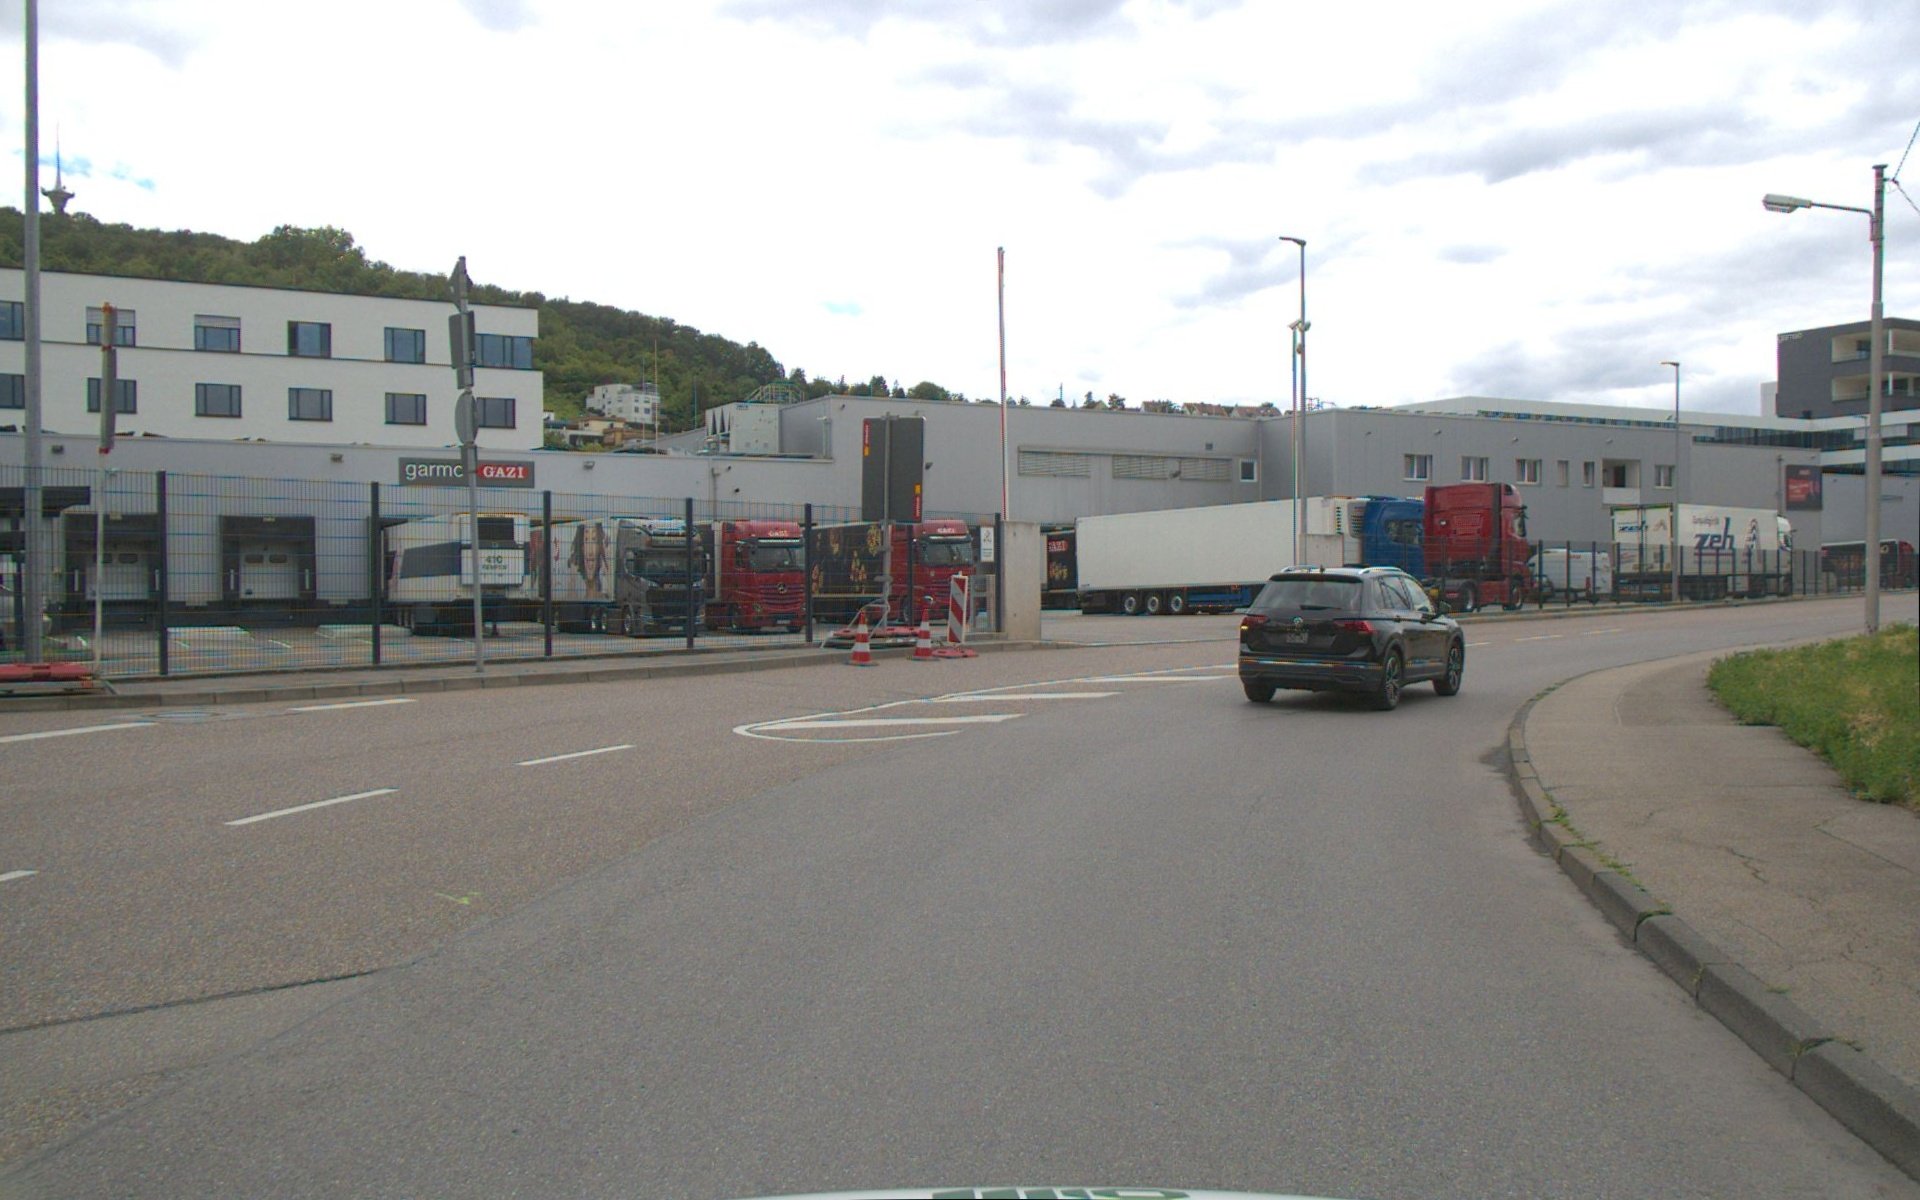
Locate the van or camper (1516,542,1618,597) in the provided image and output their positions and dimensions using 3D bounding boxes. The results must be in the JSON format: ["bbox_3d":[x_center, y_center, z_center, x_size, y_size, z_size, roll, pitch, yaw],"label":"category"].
[{"bbox_3d":[32.044,-1.585,87.461,2.076,2.811,4.936,0,0,-31],"label":"van or camper"}]

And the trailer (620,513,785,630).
[{"bbox_3d":[-10.252,-1.048,64.534,2.753,4.149,10.887,0,0,-29],"label":"trailer"}]

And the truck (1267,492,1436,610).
[{"bbox_3d":[14.190,-1.725,59.891,5.487,4.090,2.929,0,0,26],"label":"truck"}]

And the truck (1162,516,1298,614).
[{"bbox_3d":[11.482,-1.478,70.825,2.761,3.997,5.871,-1,1,-28],"label":"truck"}]

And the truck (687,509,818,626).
[{"bbox_3d":[-7.571,-1.128,59.762,2.763,3.997,5.868,0,0,-29],"label":"truck"}]

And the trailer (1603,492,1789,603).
[{"bbox_3d":[32.787,-2.191,73.181,3.088,4.336,13.932,-5,-3,42],"label":"trailer"}]

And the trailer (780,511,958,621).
[{"bbox_3d":[-3.914,-1.311,67.454,2.753,4.149,10.887,0,0,-29],"label":"trailer"}]

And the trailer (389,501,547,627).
[{"bbox_3d":[-18.008,-1.209,59.889,3.048,4.149,11.297,0,0,-29],"label":"trailer"}]

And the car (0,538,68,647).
[{"bbox_3d":[-16.542,-0.113,26.040,4.200,1.699,2.048,-1,1,-36],"label":"car"}]

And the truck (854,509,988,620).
[{"bbox_3d":[-1.567,-1.304,63.139,2.763,3.997,5.868,0,0,-29],"label":"truck"}]

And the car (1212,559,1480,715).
[{"bbox_3d":[4.912,0.362,20.591,1.958,1.713,4.360,1,1,32],"label":"car"}]

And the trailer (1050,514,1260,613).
[{"bbox_3d":[8.659,-1.612,76.220,2.743,4.179,12.973,-1,1,-28],"label":"trailer"}]

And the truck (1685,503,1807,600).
[{"bbox_3d":[37.142,-2.219,78.015,3.083,4.189,6.898,-5,-3,43],"label":"truck"}]

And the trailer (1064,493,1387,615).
[{"bbox_3d":[9.890,-1.677,64.194,3.009,4.256,13.812,0,1,-40],"label":"trailer"}]

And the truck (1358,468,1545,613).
[{"bbox_3d":[14.965,-1.718,50.059,2.878,4.090,6.903,0,1,41],"label":"truck"}]

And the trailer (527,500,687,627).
[{"bbox_3d":[-13.578,-1.286,62.679,2.753,4.376,11.071,0,0,-29],"label":"trailer"}]

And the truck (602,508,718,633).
[{"bbox_3d":[-10.345,-0.976,56.895,2.763,4.110,4.124,0,0,-29],"label":"truck"}]
